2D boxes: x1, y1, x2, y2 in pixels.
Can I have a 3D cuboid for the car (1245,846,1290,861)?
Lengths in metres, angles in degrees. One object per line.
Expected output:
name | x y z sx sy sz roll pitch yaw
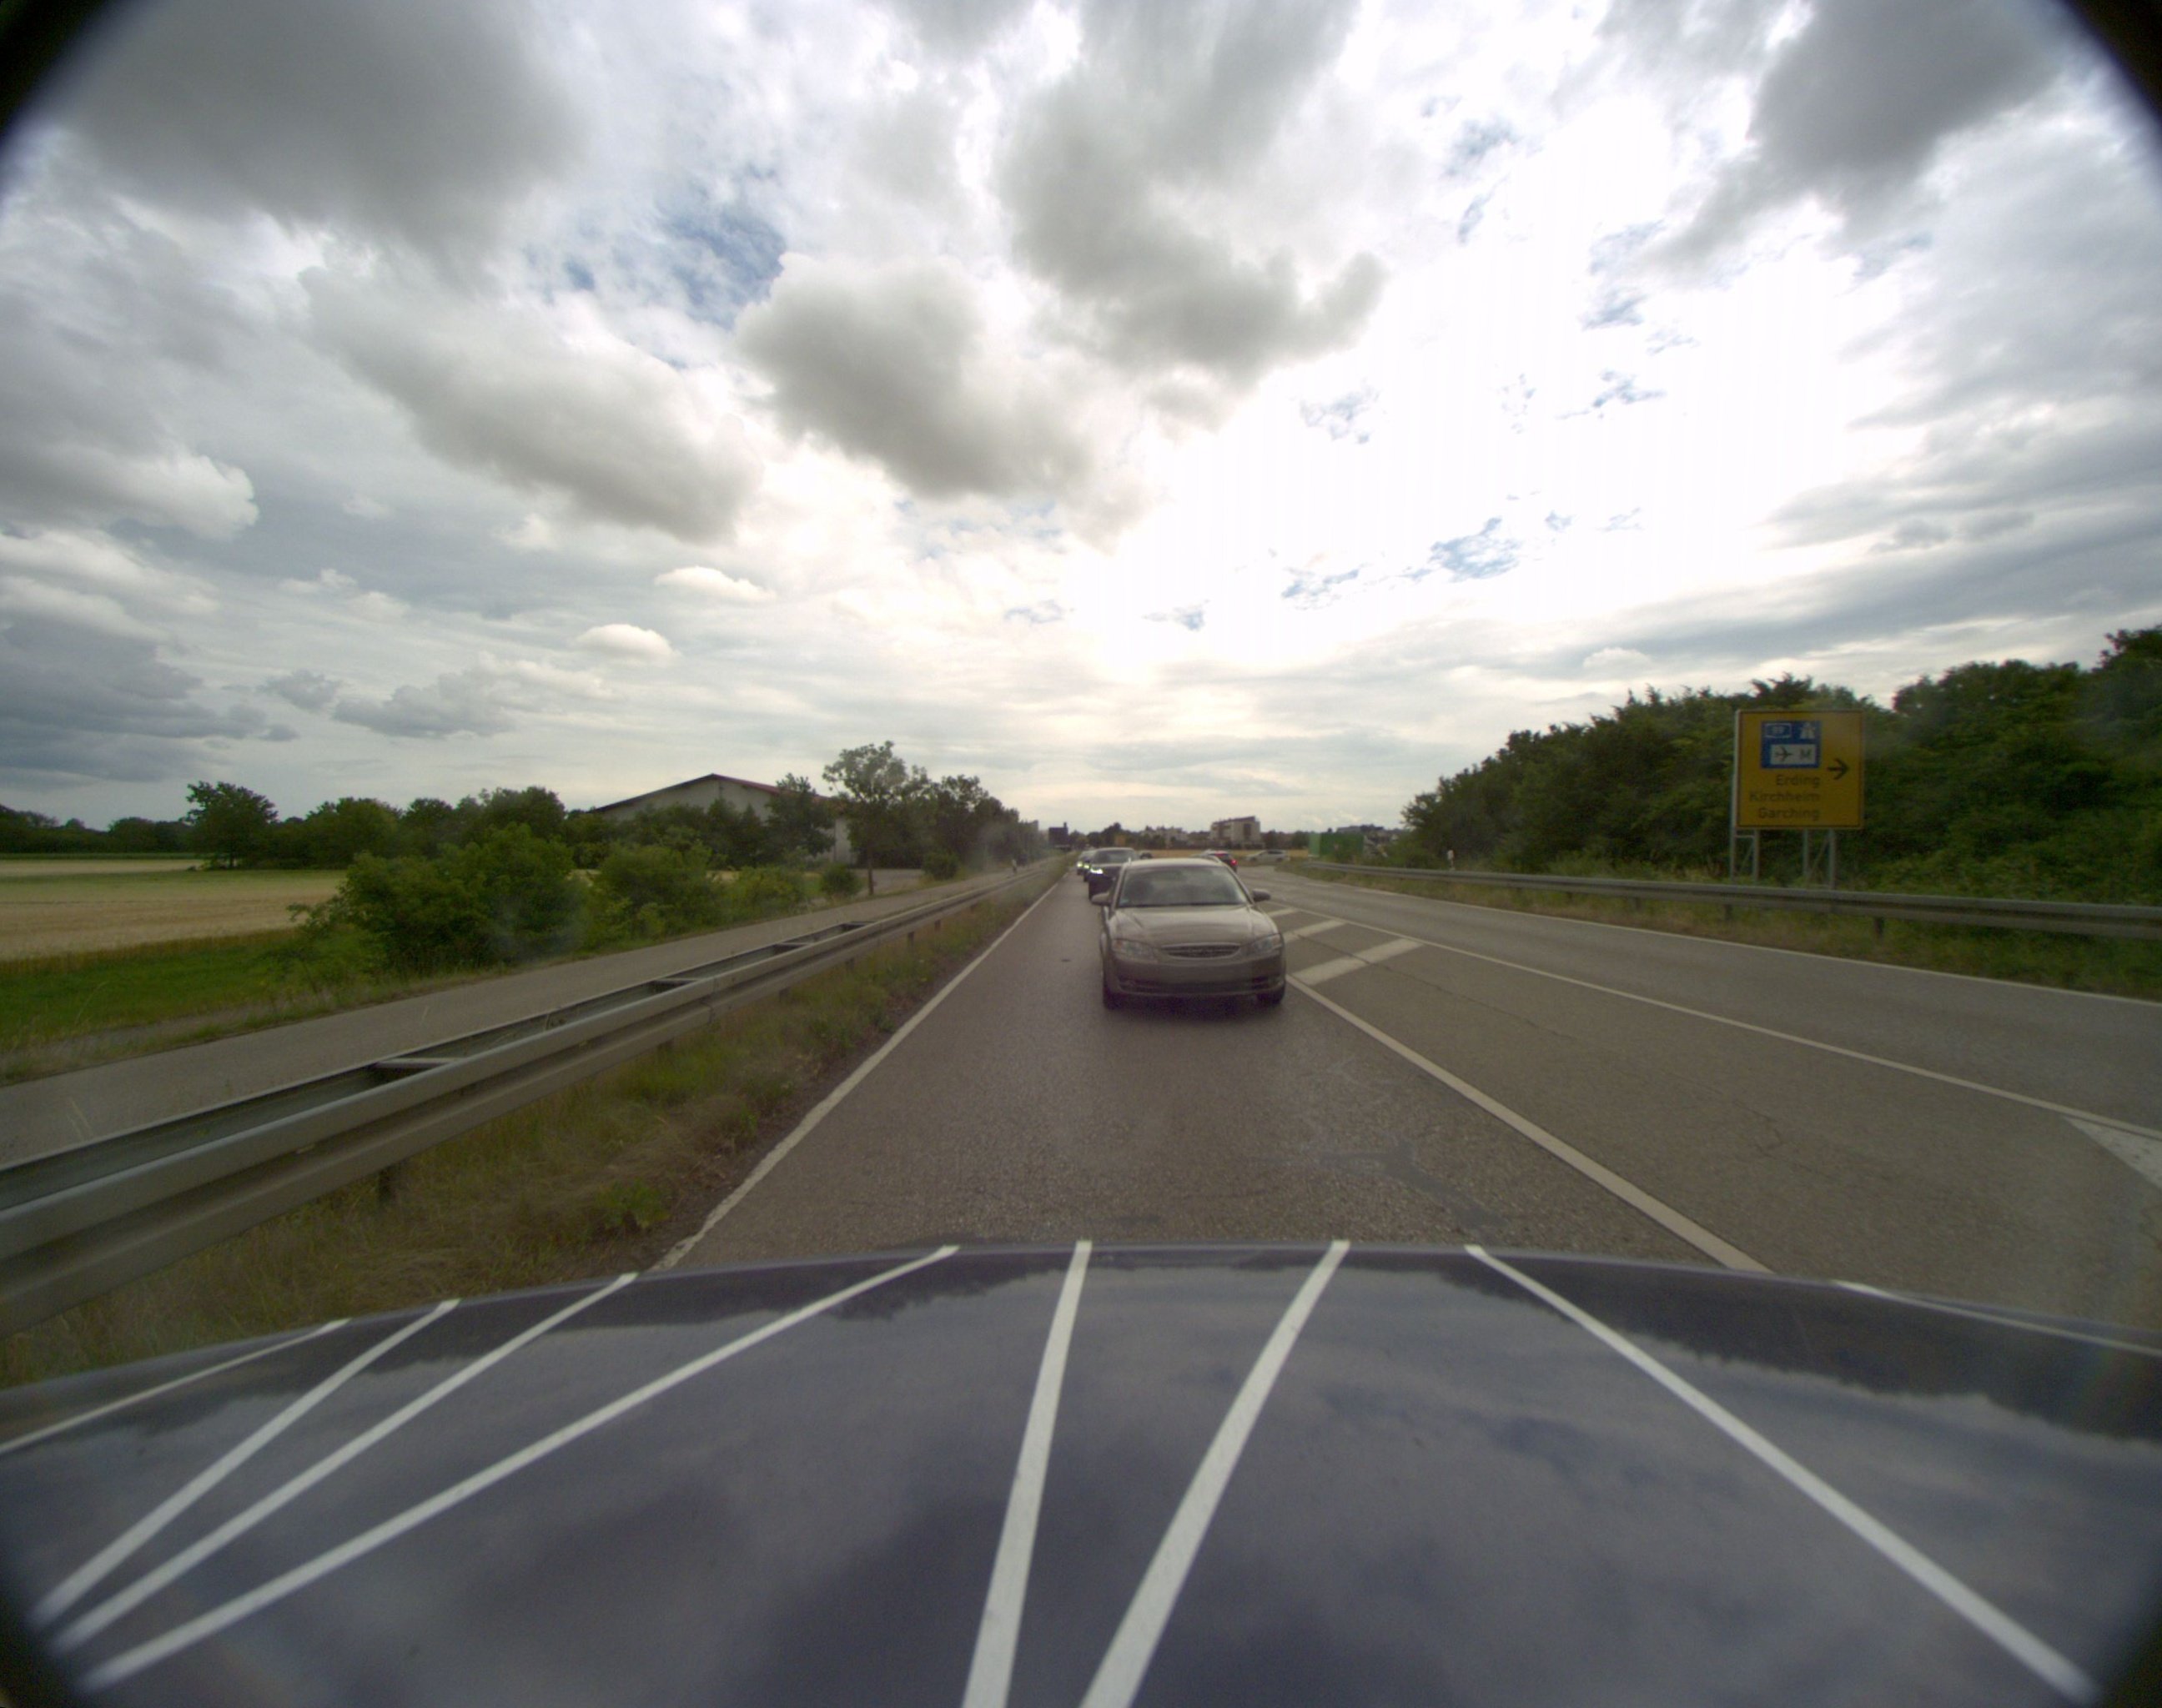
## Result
car | 20.289 -0.081 82.960 4.672 1.490 2.001 -1 1 10

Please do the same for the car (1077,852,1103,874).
car | 0.638 0.620 54.657 1.730 1.436 4.204 -2 1 0

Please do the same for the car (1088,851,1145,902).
car | 1.132 0.716 26.026 1.730 1.534 4.204 -2 1 0

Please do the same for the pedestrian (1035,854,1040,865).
pedestrian | -6.259 0.775 108.409 0.591 1.512 0.501 -2 1 8

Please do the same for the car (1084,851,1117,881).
car | 1.045 0.619 41.962 1.730 1.478 4.204 -2 1 0

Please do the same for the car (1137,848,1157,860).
car | 8.648 -0.048 99.749 1.999 1.481 3.837 -1 1 -3

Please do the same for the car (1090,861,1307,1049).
car | 0.993 0.848 8.342 1.730 1.436 4.204 -1 1 0

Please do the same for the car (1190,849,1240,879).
car | 6.924 0.494 39.728 1.804 1.442 4.445 -1 1 0

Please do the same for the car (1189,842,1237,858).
car | 14.418 -0.469 83.040 4.815 1.680 1.999 -1 1 -3

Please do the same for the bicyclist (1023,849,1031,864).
bicyclist | -5.620 0.263 79.099 0.640 1.573 0.969 -1 1 1

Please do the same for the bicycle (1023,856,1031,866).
bicycle | -5.616 0.755 79.122 0.640 0.973 2.072 -1 1 1

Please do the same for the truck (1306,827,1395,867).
truck | 26.329 -0.734 74.373 7.604 3.542 2.931 -2 1 -6
